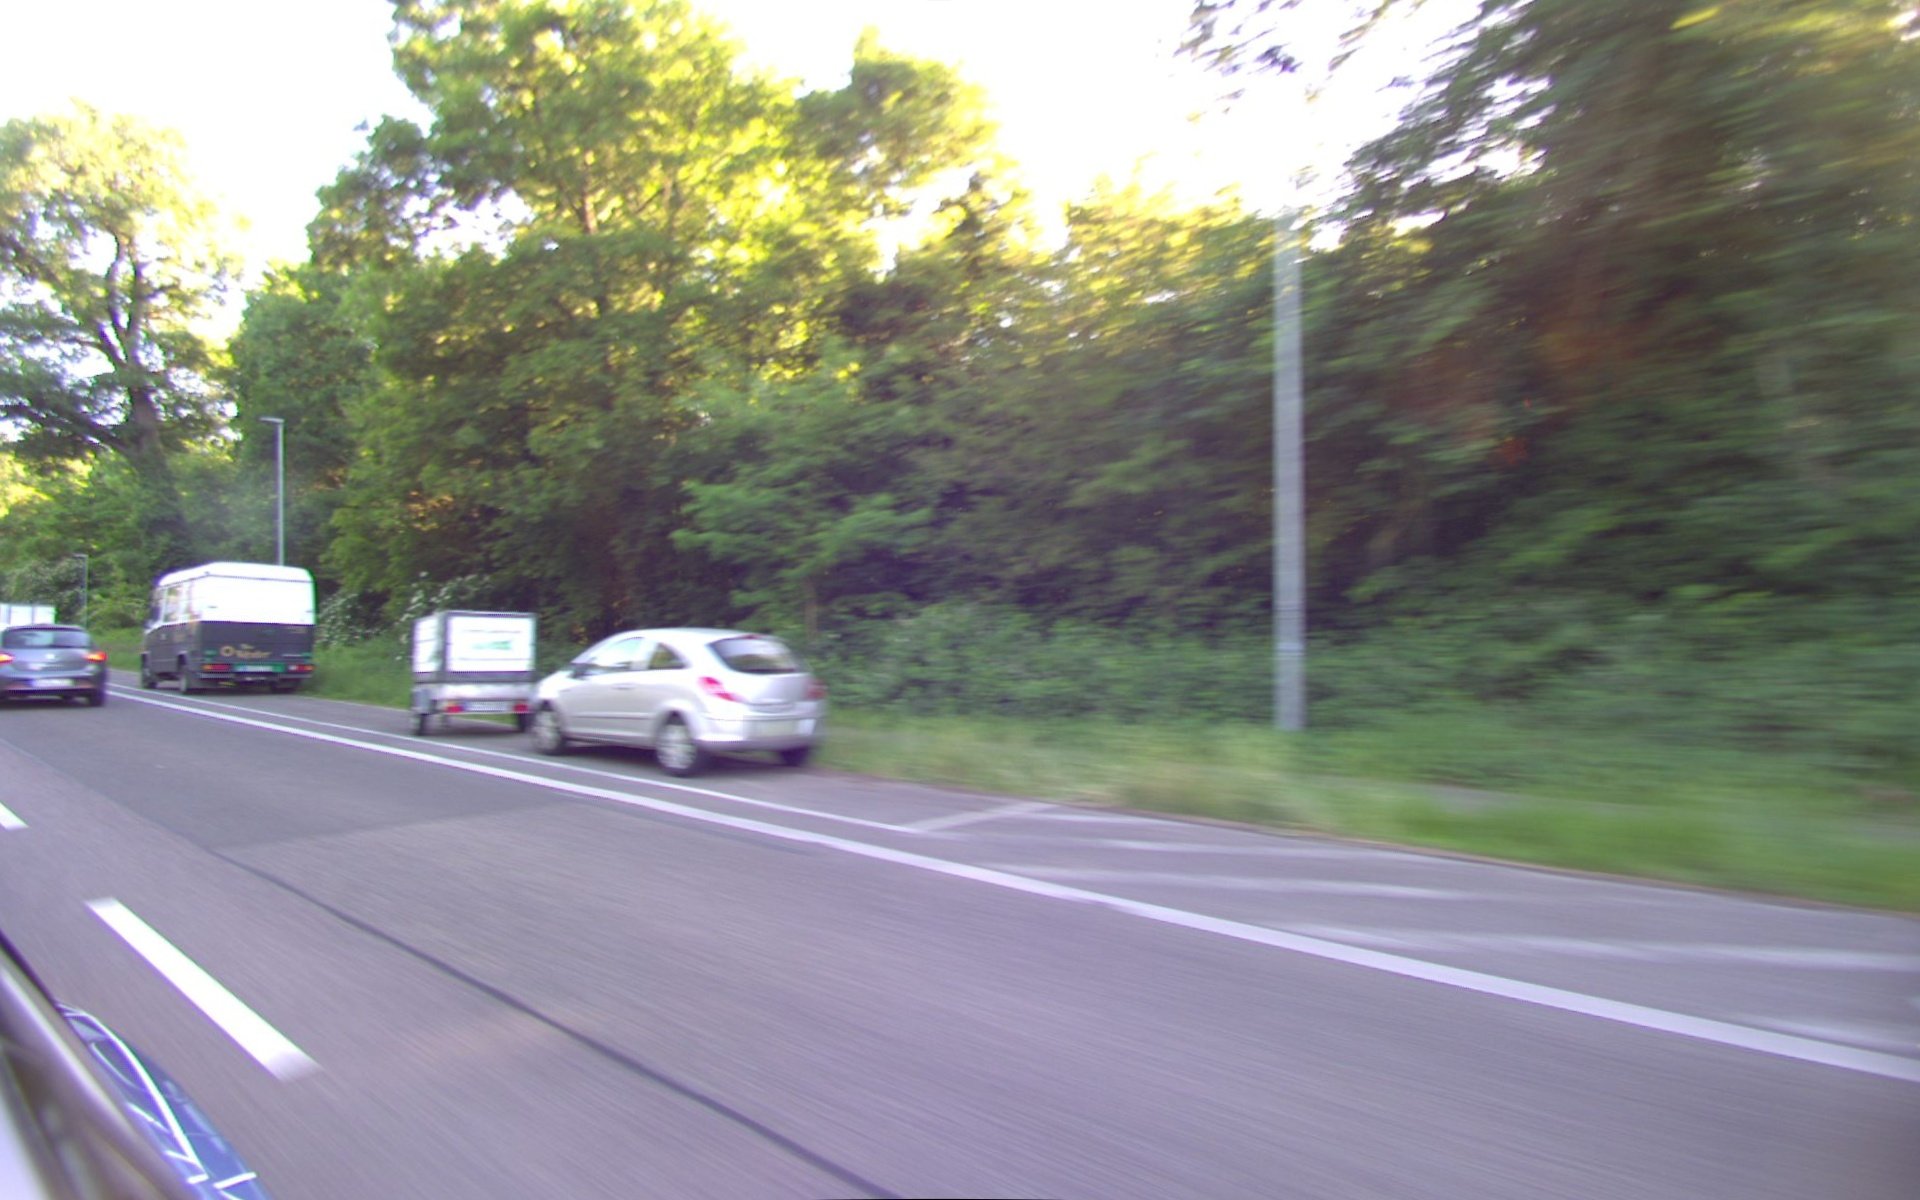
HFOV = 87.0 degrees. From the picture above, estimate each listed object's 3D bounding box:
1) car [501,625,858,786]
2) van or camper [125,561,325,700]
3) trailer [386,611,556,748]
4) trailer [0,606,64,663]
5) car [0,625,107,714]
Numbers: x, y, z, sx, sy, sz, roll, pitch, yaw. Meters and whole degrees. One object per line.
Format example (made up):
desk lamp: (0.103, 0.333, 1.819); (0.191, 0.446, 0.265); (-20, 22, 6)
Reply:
car: (-3.251, 1.069, 11.348); (4.130, 1.475, 1.848); (-1, -5, 41)
van or camper: (-16.705, 0.724, 22.883); (5.553, 2.789, 2.278); (-1, -4, 40)
trailer: (-6.913, 1.032, 14.162); (1.451, 1.672, 3.373); (3, -3, -37)
trailer: (-39.834, 1.458, 43.125); (3.485, 2.311, 2.053); (-1, -3, 42)
car: (-16.578, 1.153, 17.893); (3.997, 1.426, 1.661); (-1, -2, 41)
